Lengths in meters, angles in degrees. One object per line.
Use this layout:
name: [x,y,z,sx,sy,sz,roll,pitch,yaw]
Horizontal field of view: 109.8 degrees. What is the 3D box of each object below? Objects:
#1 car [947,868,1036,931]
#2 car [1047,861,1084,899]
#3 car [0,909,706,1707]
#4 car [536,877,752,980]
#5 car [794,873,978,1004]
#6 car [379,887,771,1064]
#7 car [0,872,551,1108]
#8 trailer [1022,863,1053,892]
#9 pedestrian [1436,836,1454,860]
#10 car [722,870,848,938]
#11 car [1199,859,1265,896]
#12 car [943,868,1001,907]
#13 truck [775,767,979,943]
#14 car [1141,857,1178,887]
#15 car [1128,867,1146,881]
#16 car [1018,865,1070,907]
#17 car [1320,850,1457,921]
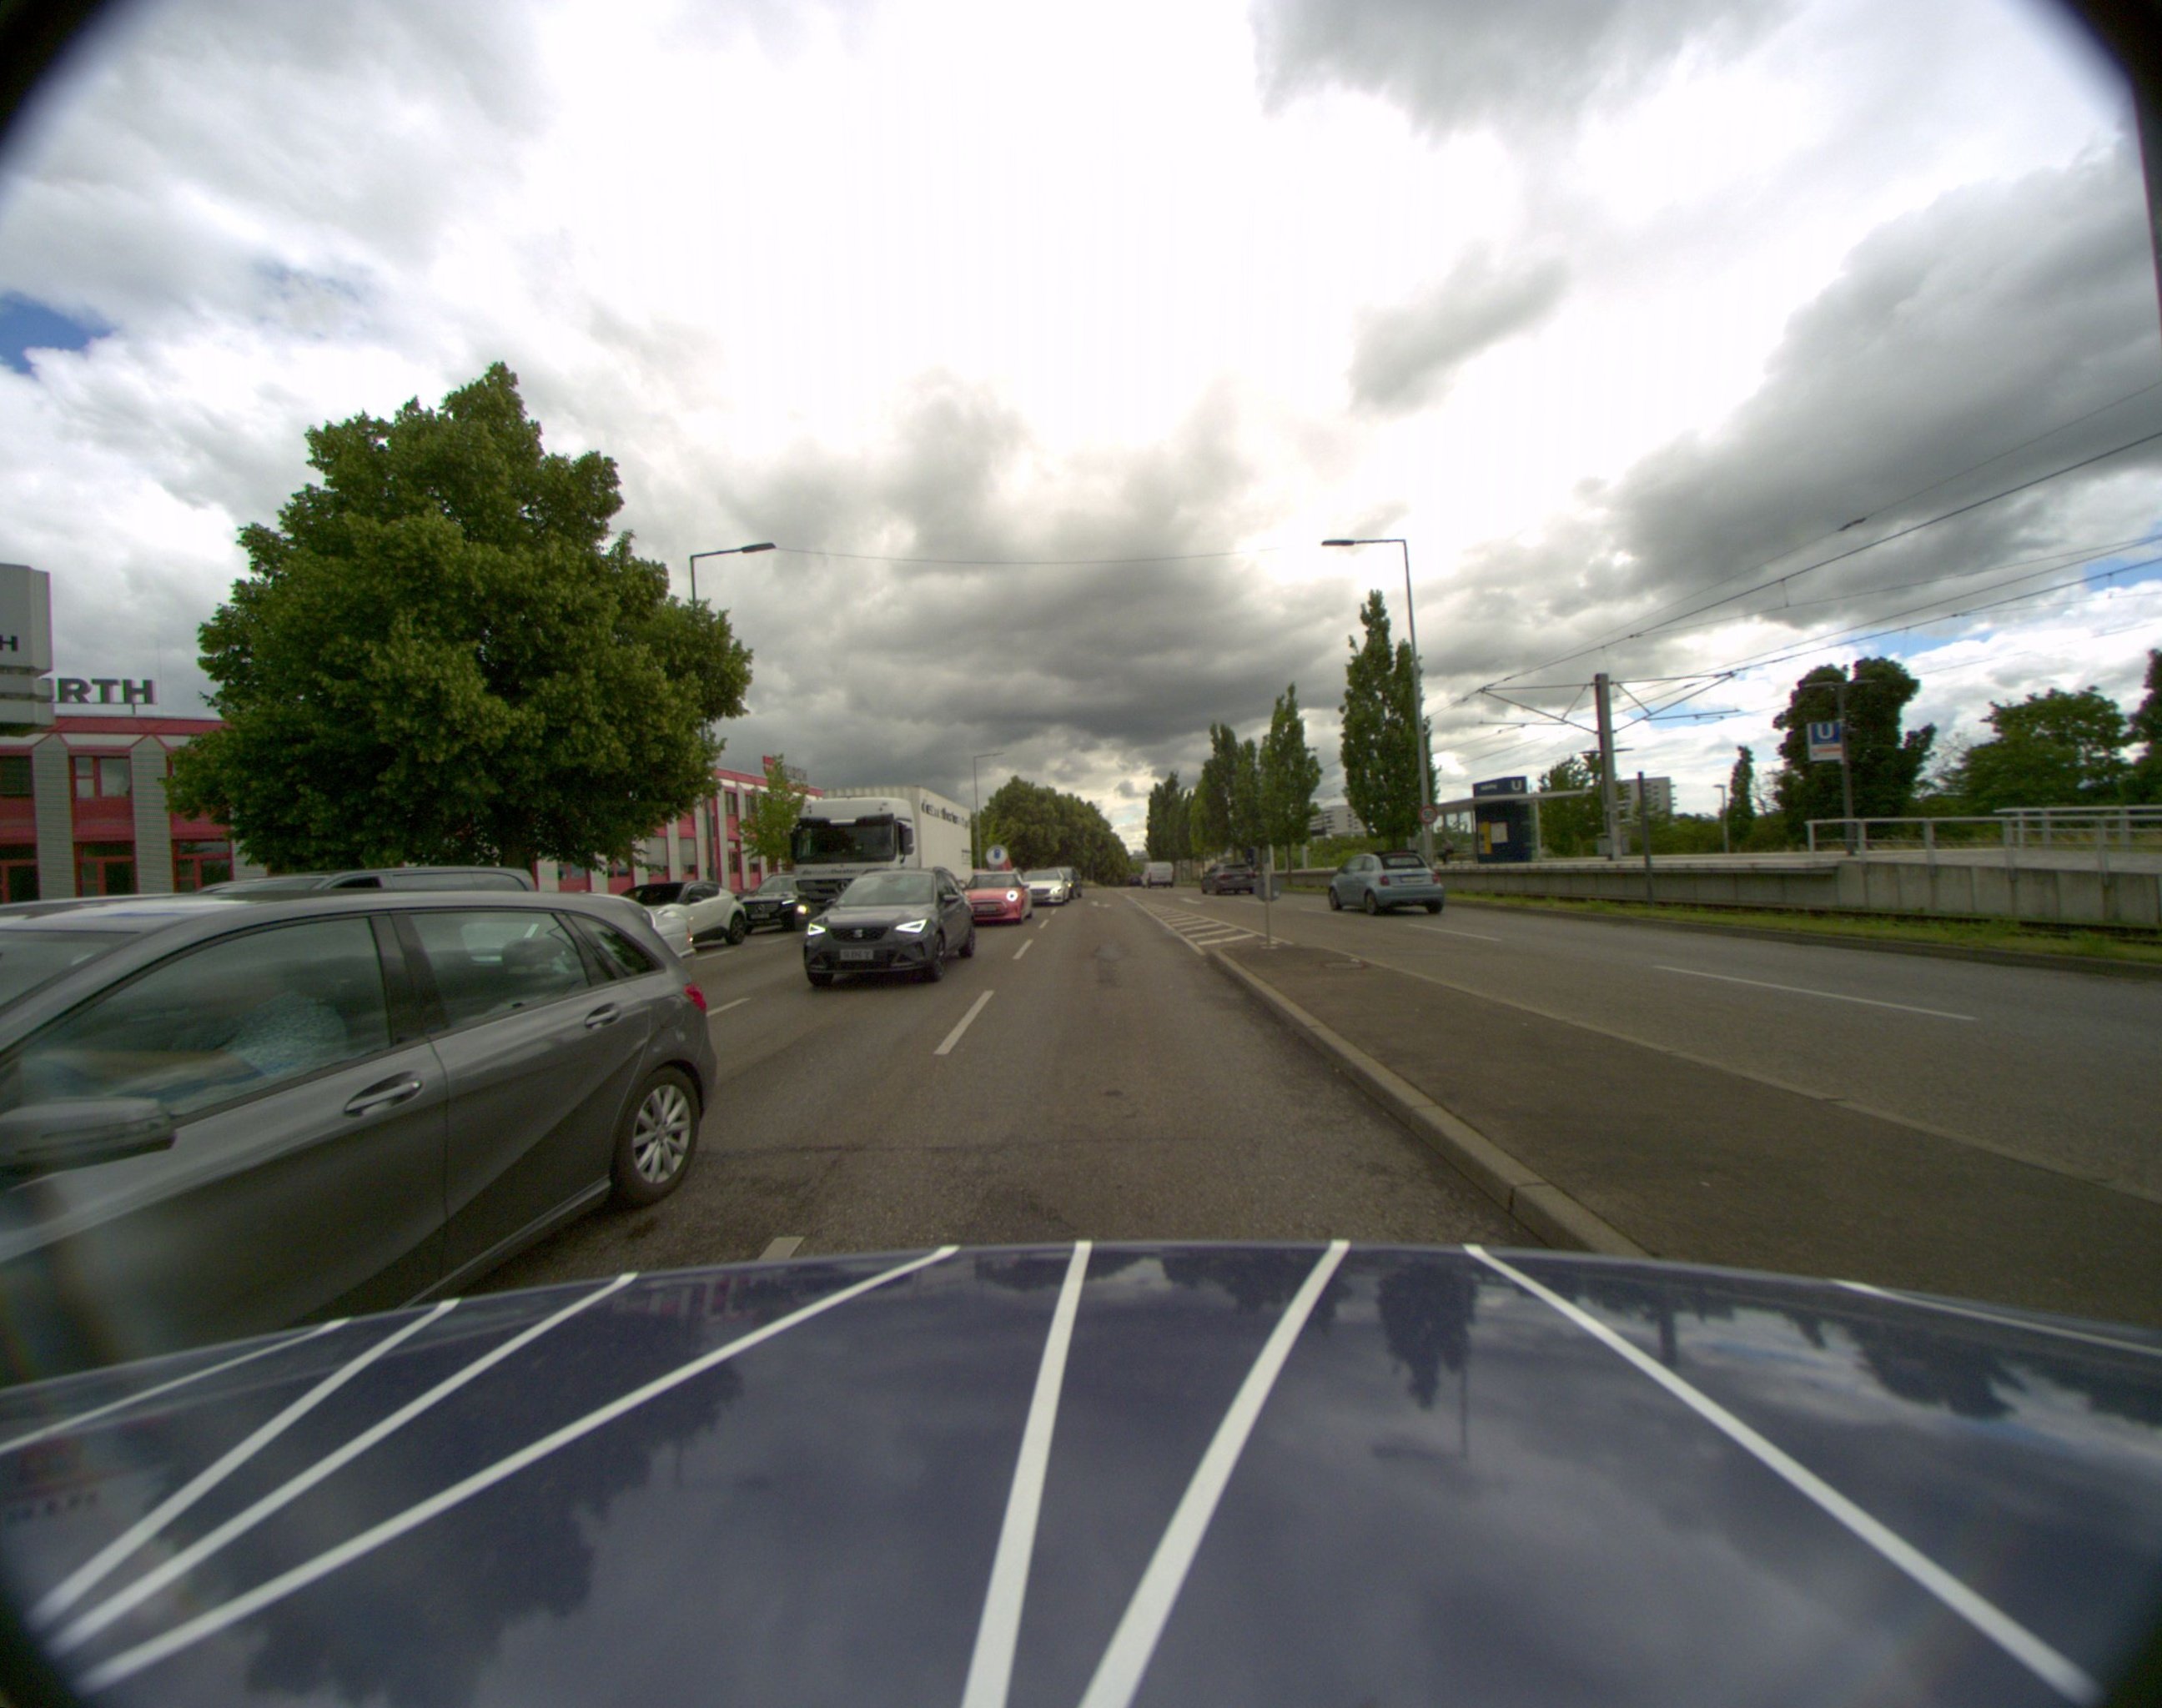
car: [-2.332,1.161,20.725,1.825,1.497,3.495,-2,-1,2]
car: [-0.706,1.215,37.220,1.669,1.589,3.996,-2,1,0]
car: [-2.944,1.047,1.941,1.750,1.499,4.049,-2,-1,3]
car: [-8.603,1.385,15.480,1.844,1.507,4.106,-6,0,1]
car: [-2.640,1.080,11.202,1.628,1.484,3.838,-2,-1,1]
car: [-5.523,1.212,9.128,1.750,1.374,4.290,-2,0,1]
car: [-8.797,1.238,8.800,1.763,1.764,4.675,-6,0,2]
trailer: [-2.942,1.565,52.190,1.775,1.650,3.995,-2,2,1]
pedestrian: [17.613,-0.283,36.777,0.601,1.148,0.447,-2,1,1]
car: [-8.455,1.375,22.153,1.865,1.648,4.209,-4,-1,1]
car: [6.829,1.025,34.827,1.875,1.416,4.431,-2,1,-3]
car: [-4.748,1.439,33.801,1.851,1.521,4.377,-2,-1,0]
truck: [-5.299,0.041,22.235,2.809,3.880,10.182,-2,0,2]
car: [5.828,1.307,57.338,1.920,1.953,5.371,-2,1,-3]
car: [6.268,2.239,85.283,1.700,1.440,3.660,-2,0,0]
car: [-1.407,1.239,30.618,1.804,1.403,4.316,-2,1,0]
car: [7.587,0.710,19.107,1.761,1.519,3.599,-2,1,-4]
